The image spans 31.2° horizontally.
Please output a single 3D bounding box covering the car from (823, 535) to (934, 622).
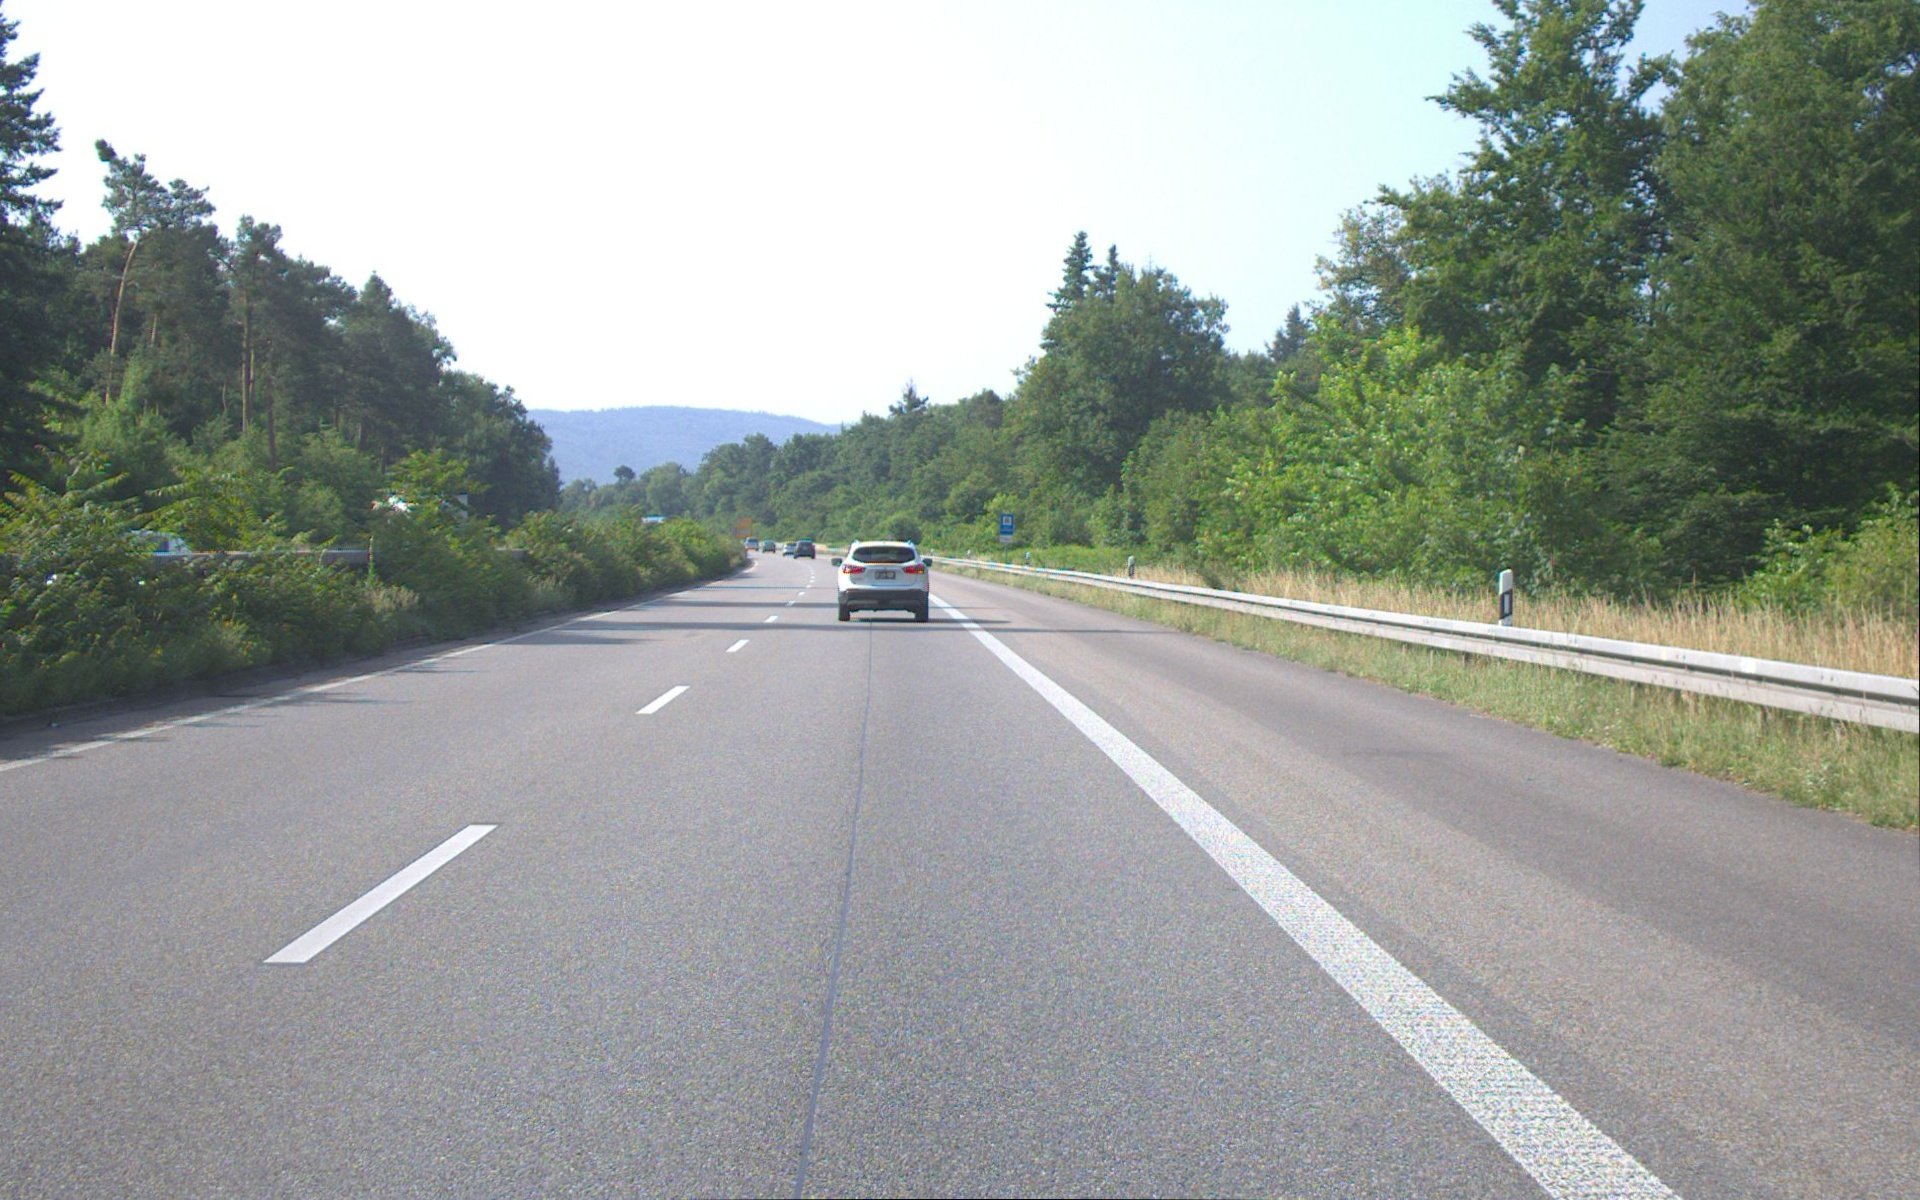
[{"bbox_3d":[-1.668,-0.454,68.784,1.873,1.581,4.001,2,1,-6],"label":"car"}]

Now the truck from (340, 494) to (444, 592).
[{"bbox_3d":[-19.091,-1.907,115.890,2.462,3.165,7.228,-1,1,-2],"label":"truck"}]

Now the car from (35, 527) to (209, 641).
[{"bbox_3d":[-12.195,-0.259,50.224,1.744,1.582,3.666,1,1,-2],"label":"car"}]
